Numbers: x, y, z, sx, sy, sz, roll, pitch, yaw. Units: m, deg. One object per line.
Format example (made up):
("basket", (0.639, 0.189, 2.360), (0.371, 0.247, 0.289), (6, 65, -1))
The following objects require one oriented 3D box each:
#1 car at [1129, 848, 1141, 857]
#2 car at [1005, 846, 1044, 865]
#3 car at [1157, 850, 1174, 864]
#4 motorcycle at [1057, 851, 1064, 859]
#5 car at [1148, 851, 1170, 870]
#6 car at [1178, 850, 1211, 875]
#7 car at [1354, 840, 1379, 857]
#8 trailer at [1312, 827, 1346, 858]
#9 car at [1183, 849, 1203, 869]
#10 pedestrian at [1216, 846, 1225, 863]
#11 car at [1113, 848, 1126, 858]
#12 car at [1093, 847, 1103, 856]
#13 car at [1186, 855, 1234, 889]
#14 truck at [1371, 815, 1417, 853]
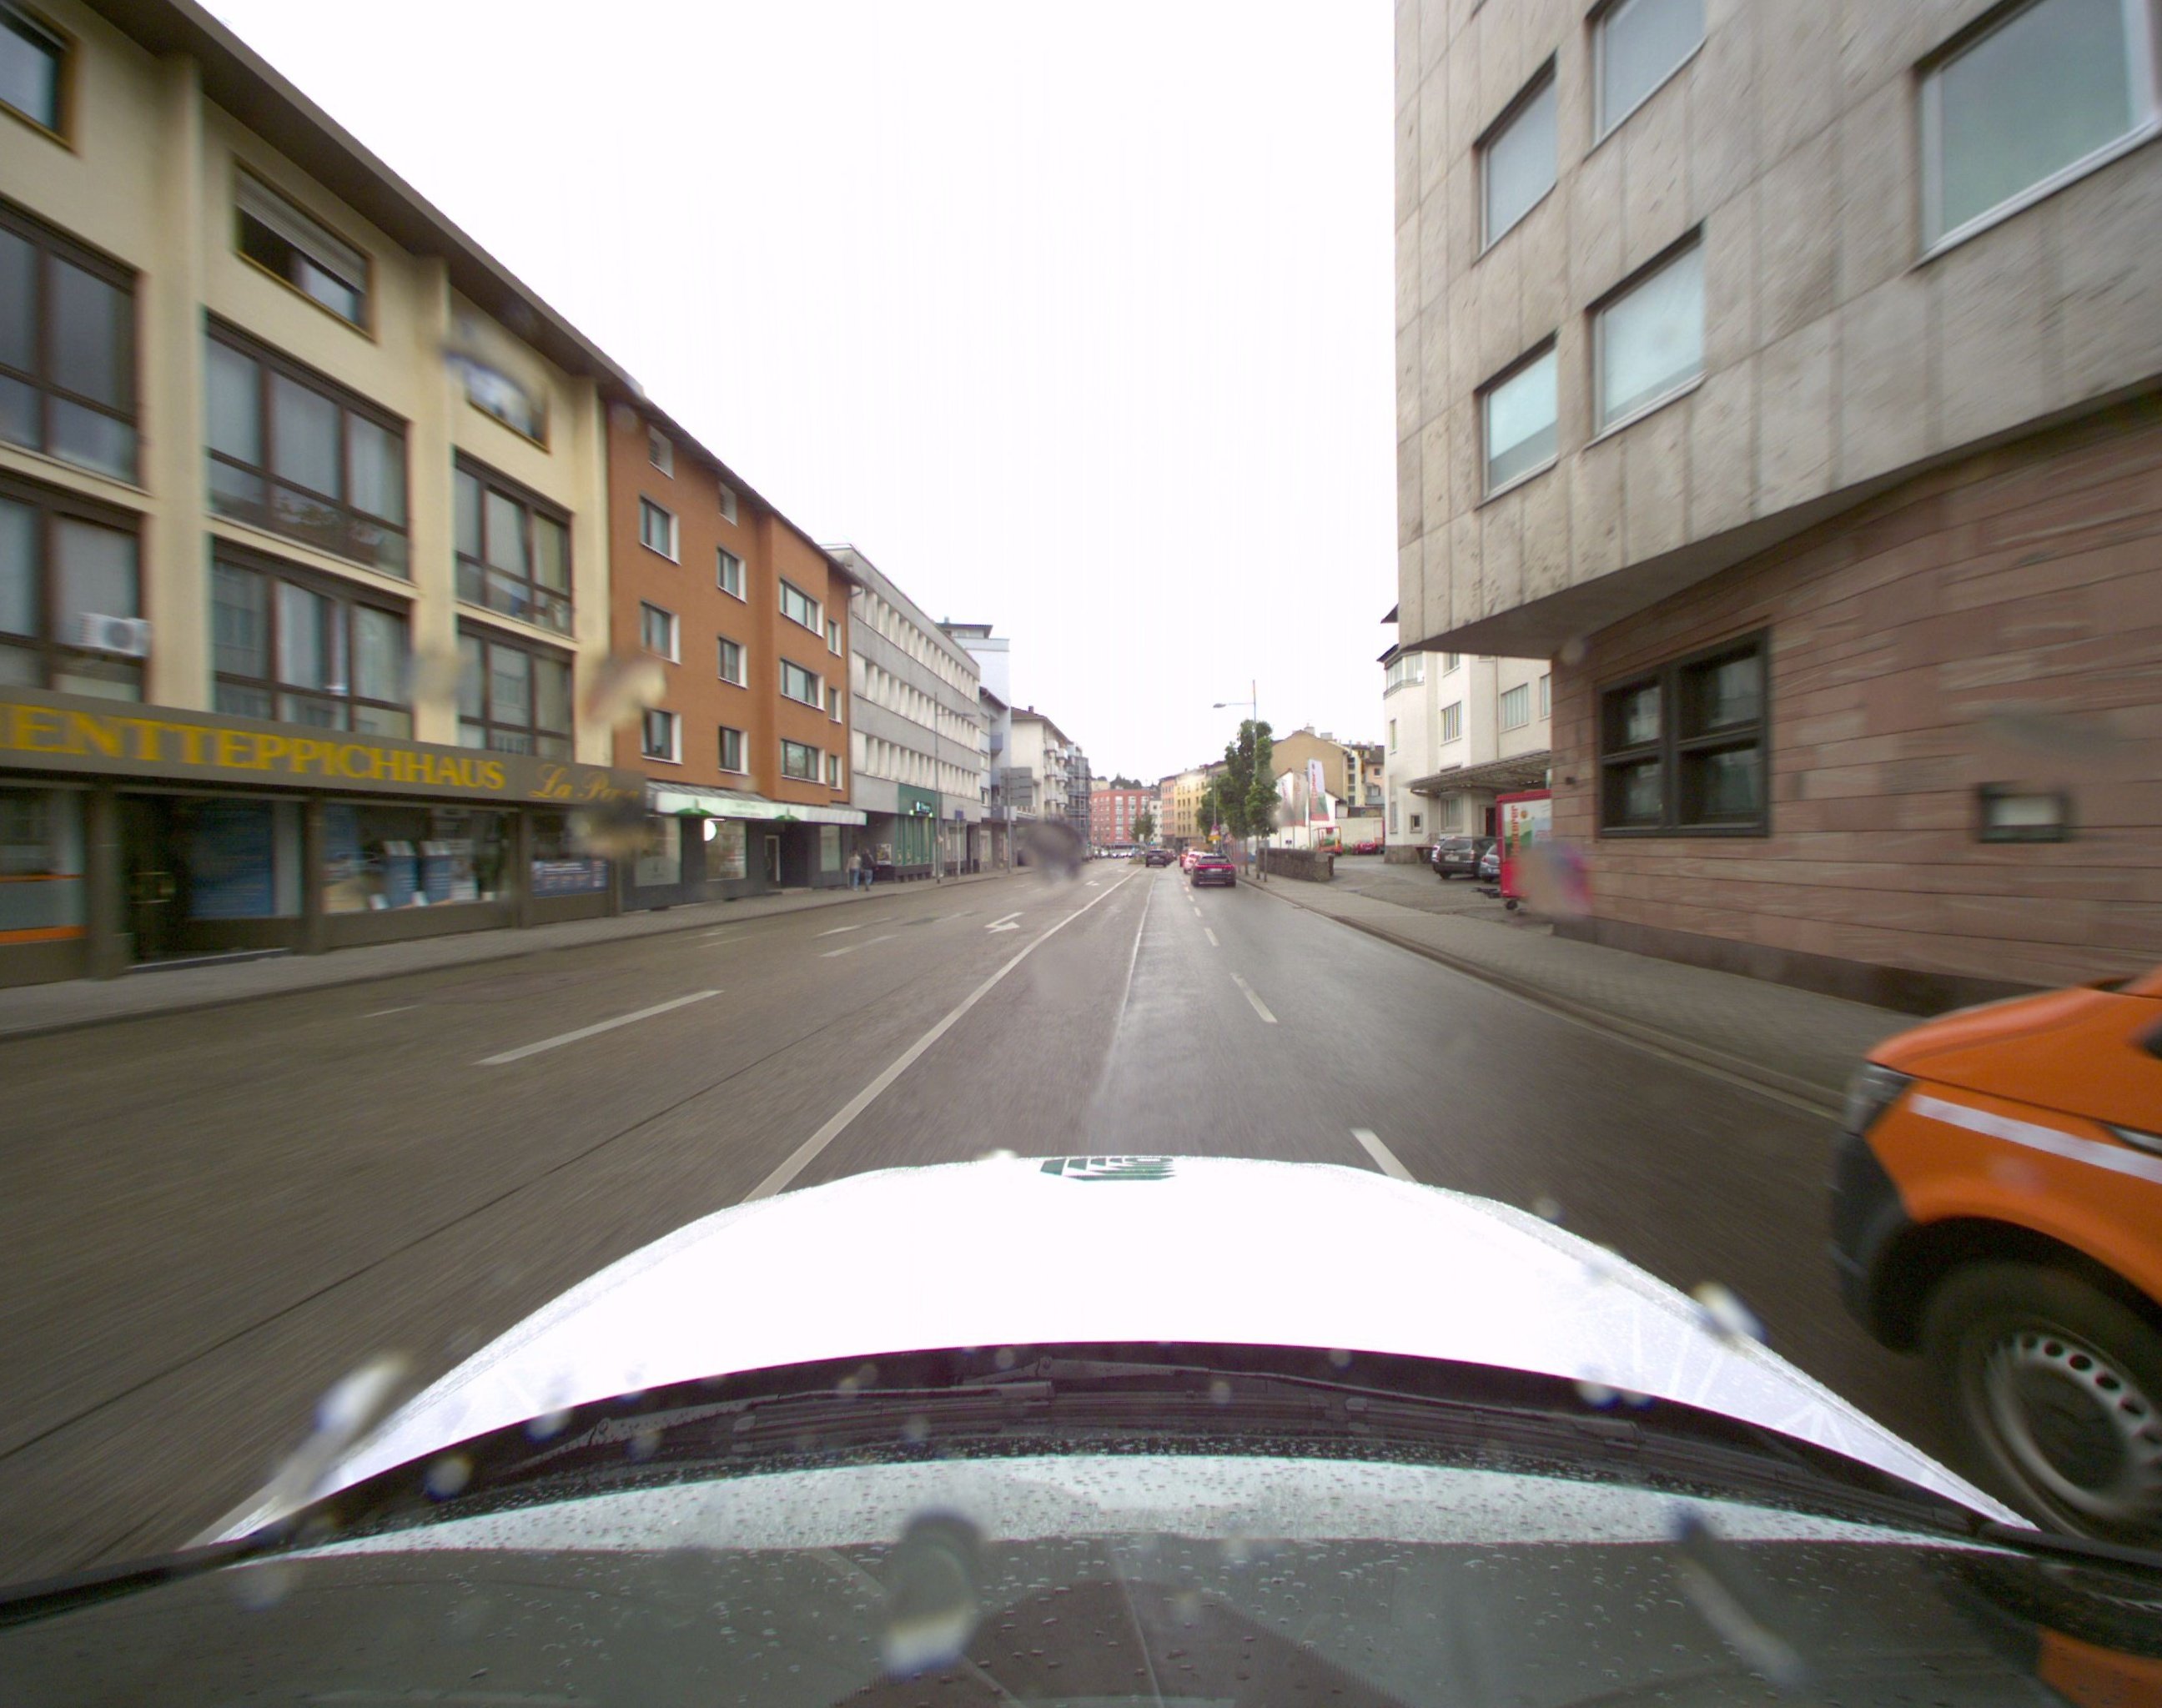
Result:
("car", (8.700, -0.278, 131.519), (1.711, 1.423, 4.173), (-3, 0, 6))
("car", (-6.099, 0.166, 87.722), (3.942, 2.034, 1.583), (-1, 0, 6))
("car", (8.586, 0.306, 82.984), (1.633, 1.381, 3.353), (-2, 0, 5))
("motorcycle", (-2.444, 0.095, 97.393), (0.523, 0.995, 2.141), (1, 0, 8))
("car", (7.061, 0.549, 73.369), (1.813, 1.600, 3.726), (1, 0, 7))
("car", (7.498, 0.539, 54.193), (1.659, 1.396, 3.868), (3, 1, 1))
("car", (26.132, -0.507, 74.656), (1.580, 1.456, 3.274), (-2, 0, 10))
("trailer", (23.120, -1.102, 76.095), (2.115, 2.716, 5.404), (-3, 0, 9))
("car", (10.537, 0.434, 76.622), (1.820, 1.805, 3.727), (1, 1, 8))
("pedestrian", (15.618, 0.052, 90.930), (0.785, 1.755, 0.876), (-2, 0, 19))
("car", (6.491, -0.195, 135.327), (1.699, 1.468, 4.839), (-4, 0, 7))
("car", (3.211, -0.498, 153.418), (1.546, 1.570, 3.345), (1, 0, -3))
("car", (5.771, 0.770, 36.803), (1.781, 1.403, 4.640), (0, 0, 5))
("truck", (28.744, -1.745, 74.971), (2.615, 3.215, 6.950), (-3, 0, 11))
